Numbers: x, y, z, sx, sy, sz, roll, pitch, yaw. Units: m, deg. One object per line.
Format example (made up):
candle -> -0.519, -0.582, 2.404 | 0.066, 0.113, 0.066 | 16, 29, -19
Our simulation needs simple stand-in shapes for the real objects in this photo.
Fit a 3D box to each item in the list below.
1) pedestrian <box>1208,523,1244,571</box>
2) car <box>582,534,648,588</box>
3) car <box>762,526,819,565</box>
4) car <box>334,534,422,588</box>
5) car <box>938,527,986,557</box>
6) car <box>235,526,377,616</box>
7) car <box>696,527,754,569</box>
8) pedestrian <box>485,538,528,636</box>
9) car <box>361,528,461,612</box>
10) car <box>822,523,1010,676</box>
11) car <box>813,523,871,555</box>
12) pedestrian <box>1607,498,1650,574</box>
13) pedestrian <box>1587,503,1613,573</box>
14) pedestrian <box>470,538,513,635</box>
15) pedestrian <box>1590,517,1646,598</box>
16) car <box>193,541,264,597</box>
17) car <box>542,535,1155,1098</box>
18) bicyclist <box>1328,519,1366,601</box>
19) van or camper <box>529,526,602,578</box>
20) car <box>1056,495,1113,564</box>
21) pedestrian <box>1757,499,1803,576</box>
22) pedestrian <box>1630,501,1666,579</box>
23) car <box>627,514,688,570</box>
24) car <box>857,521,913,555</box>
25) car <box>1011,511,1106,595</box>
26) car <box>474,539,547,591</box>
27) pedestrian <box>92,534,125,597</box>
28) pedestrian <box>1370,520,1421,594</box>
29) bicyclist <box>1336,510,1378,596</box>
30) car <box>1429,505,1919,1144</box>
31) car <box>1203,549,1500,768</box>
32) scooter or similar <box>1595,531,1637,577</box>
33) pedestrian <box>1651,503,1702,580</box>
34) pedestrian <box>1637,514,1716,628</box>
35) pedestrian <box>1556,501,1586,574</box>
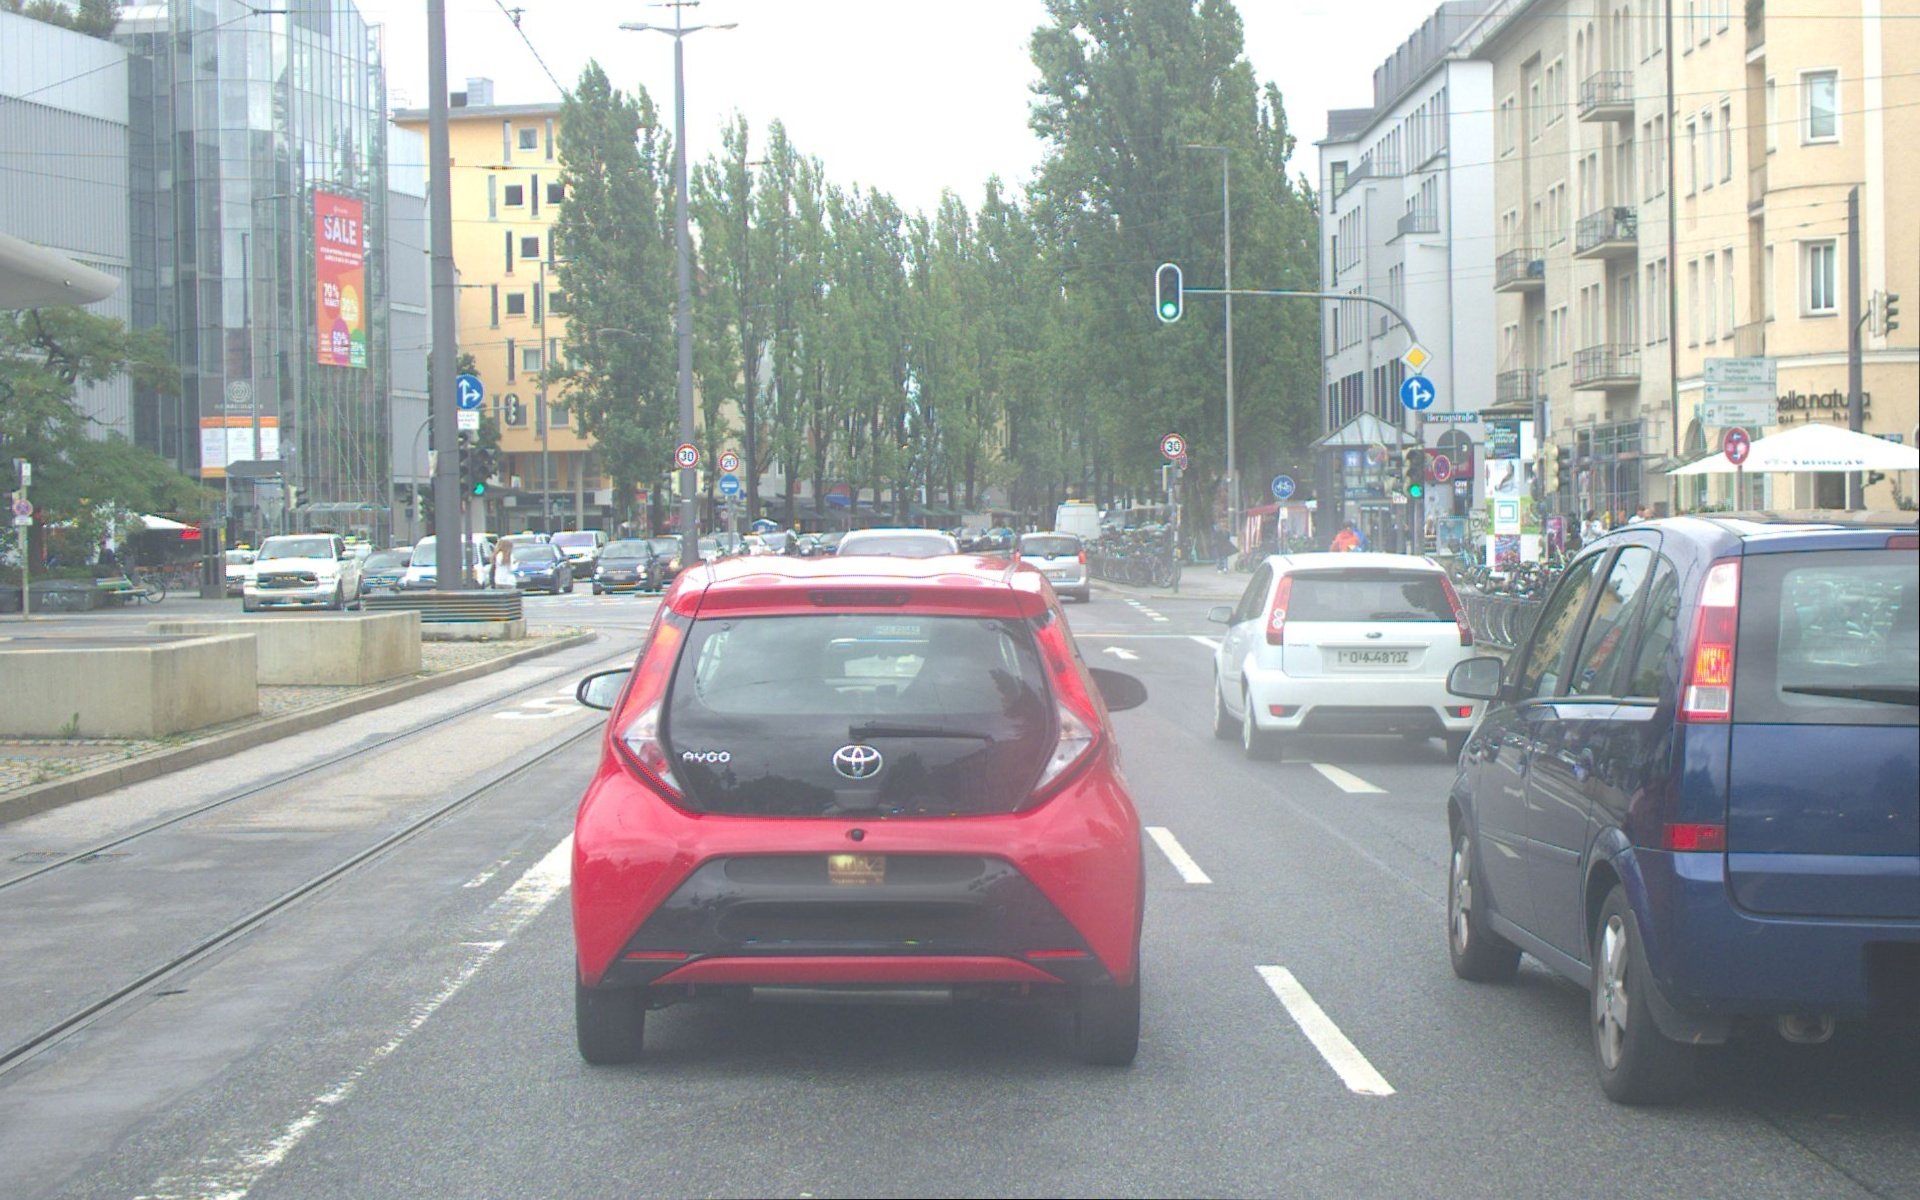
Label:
pedestrian -> 8.470, -1.692, 109.474 | 0.797, 1.517, 0.811 | -2, 1, -30
car -> -9.464, -1.078, 94.251 | 1.545, 1.440, 3.540 | -1, 1, -9
car -> -7.830, -2.541, 159.028 | 1.937, 1.733, 4.587 | 1, 2, 6
car -> -15.376, -1.050, 90.987 | 1.672, 1.374, 4.614 | -1, 1, -2
car -> 0.121, -3.488, 206.792 | 1.995, 1.722, 3.915 | -1, 1, 13
car -> -14.472, -0.678, 76.414 | 2.175, 1.881, 6.157 | -1, 1, -2
car -> -9.888, -2.201, 144.850 | 1.743, 1.664, 4.732 | -1, 1, 4
pedestrian -> -7.571, -0.217, 57.434 | 0.521, 1.613, 0.463 | 0, 1, 43
car -> -12.731, -0.719, 79.893 | 1.786, 1.849, 4.219 | -2, 1, -3
car -> -0.502, -0.046, 39.046 | 1.993, 1.612, 4.000 | -1, 1, -1
car -> -5.921, -3.084, 172.634 | 1.994, 1.529, 4.586 | -1, 1, 10
pedestrian -> 15.504, -1.486, 79.707 | 0.644, 1.699, 0.733 | -4, 5, -29
pedestrian -> 14.872, -1.440, 79.878 | 0.561, 1.604, 0.567 | -1, 4, 13
pedestrian -> -7.863, -0.227, 57.713 | 0.486, 1.613, 0.558 | -2, 1, -35
pedestrian -> 12.598, -0.814, 65.829 | 0.729, 1.535, 0.891 | -1, 1, -15
car -> -22.006, -0.960, 103.322 | 1.993, 1.530, 4.416 | -2, 2, -13
car -> -0.282, 0.550, 10.747 | 1.605, 1.456, 3.130 | 1, 1, 1
bicyclist -> 7.924, -0.835, 70.390 | 0.614, 1.652, 1.251 | -1, 1, 0
van or camper -> -14.436, -1.788, 125.943 | 1.928, 1.819, 5.441 | -1, 1, 1
car -> 4.987, -2.830, 137.811 | 2.107, 2.709, 4.804 | -1, 1, 0
pedestrian -> 18.465, -1.406, 77.442 | 0.744, 1.679, 0.682 | -5, 5, -38
pedestrian -> 15.784, -1.383, 78.886 | 0.648, 1.745, 0.637 | -2, 4, -2
car -> -8.768, -1.700, 99.486 | 1.503, 1.529, 2.838 | -2, 2, -9
car -> -3.964, -3.279, 182.058 | 1.994, 1.686, 4.919 | 3, 2, 10
car -> 2.208, -1.080, 78.177 | 1.993, 1.831, 4.000 | -1, 1, 0
car -> -12.728, -1.010, 97.536 | 1.677, 1.391, 4.233 | -1, 1, -2
pedestrian -> -24.184, -0.993, 97.678 | 0.749, 1.767, 0.773 | -1, 1, -23
pedestrian -> 10.045, -0.991, 79.256 | 0.836, 1.685, 0.818 | 0, 1, 37
bicyclist -> 8.671, -1.032, 75.142 | 0.762, 1.863, 1.133 | -1, 1, 0
car -> 2.519, 0.529, 10.339 | 1.703, 1.584, 3.556 | 1, 1, 0
car -> 2.781, 0.372, 25.074 | 1.699, 1.421, 3.497 | 1, 1, -1
scooter or similar -> 15.054, -1.061, 78.882 | 0.820, 0.991, 0.593 | -2, 4, -2
pedestrian -> 16.544, -1.350, 79.412 | 0.933, 1.749, 1.065 | -1, 1, 0
pedestrian -> 11.129, -0.454, 53.445 | 0.881, 1.737, 0.859 | -1, 1, -17
pedestrian -> 14.182, -1.450, 79.757 | 0.566, 1.665, 0.562 | 0, 5, 22
